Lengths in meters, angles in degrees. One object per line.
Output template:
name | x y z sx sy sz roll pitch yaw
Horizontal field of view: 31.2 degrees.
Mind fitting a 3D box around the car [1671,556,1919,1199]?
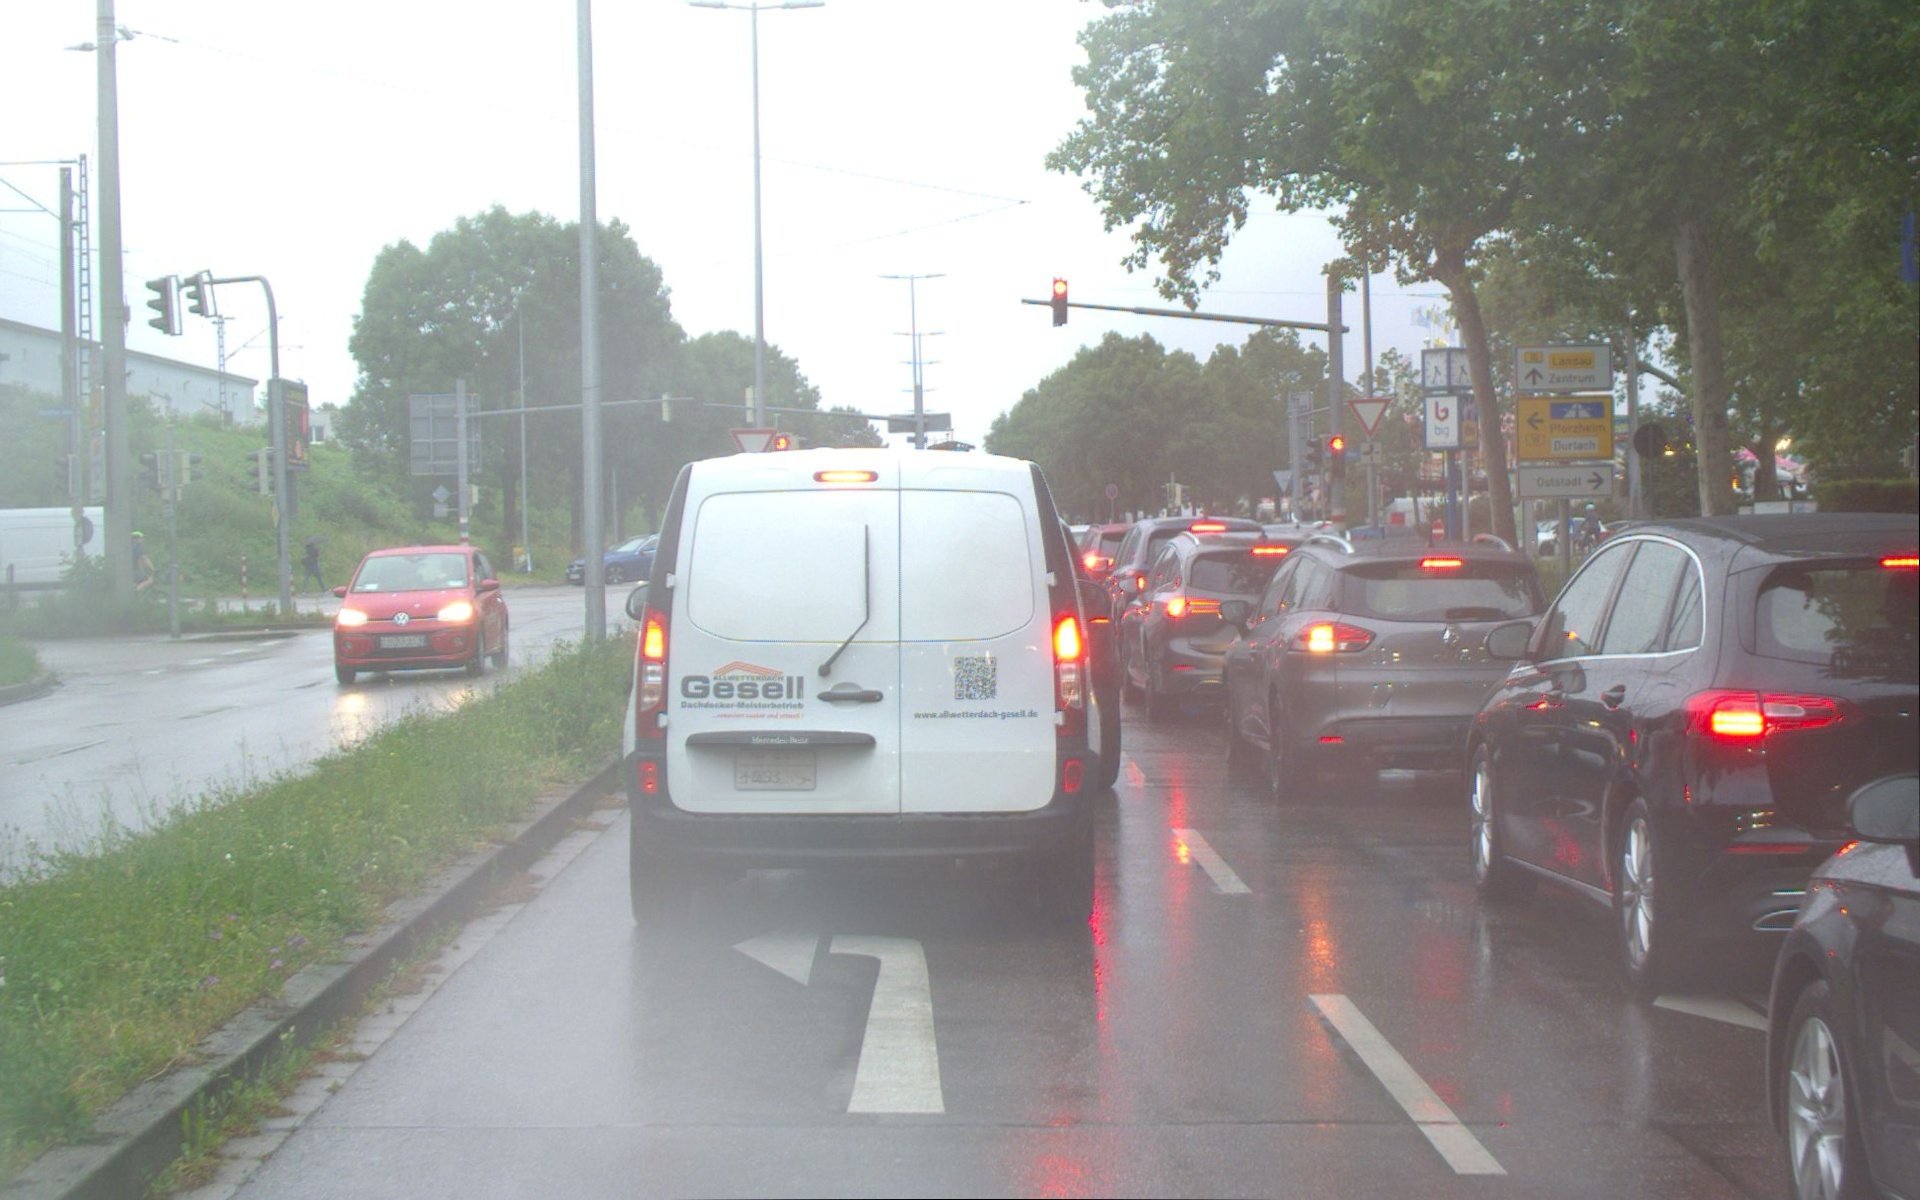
car | 2.699 0.658 5.873 1.993 1.447 4.000 0 1 -2

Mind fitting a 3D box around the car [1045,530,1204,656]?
car | 1.988 -0.124 42.487 1.711 1.440 4.000 0 2 -1

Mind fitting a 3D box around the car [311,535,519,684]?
car | -6.136 0.070 39.063 1.716 1.508 3.614 -3 2 0

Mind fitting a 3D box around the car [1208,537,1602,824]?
car | 2.457 0.380 19.847 1.711 1.440 4.000 0 2 -1

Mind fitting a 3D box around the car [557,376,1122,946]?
car | -0.496 0.224 14.131 1.993 2.007 4.000 0 0 -2

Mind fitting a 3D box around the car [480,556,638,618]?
car | -11.145 -0.370 95.574 3.934 1.520 1.775 -3 2 -26

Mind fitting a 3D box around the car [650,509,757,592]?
car | -5.160 -1.030 69.618 1.962 1.520 4.335 -2 2 -2

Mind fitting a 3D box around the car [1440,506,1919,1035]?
car | 2.924 0.457 12.298 1.708 1.544 4.001 0 2 -2

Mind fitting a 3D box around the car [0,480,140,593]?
car | -23.563 -1.559 85.213 6.002 2.734 1.999 0 0 -37

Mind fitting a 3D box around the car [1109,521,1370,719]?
car | 2.164 0.102 27.518 1.711 1.440 4.000 0 2 -1

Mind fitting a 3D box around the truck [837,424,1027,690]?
truck | -0.328 -0.429 33.881 1.756 2.458 4.000 0 1 -2
